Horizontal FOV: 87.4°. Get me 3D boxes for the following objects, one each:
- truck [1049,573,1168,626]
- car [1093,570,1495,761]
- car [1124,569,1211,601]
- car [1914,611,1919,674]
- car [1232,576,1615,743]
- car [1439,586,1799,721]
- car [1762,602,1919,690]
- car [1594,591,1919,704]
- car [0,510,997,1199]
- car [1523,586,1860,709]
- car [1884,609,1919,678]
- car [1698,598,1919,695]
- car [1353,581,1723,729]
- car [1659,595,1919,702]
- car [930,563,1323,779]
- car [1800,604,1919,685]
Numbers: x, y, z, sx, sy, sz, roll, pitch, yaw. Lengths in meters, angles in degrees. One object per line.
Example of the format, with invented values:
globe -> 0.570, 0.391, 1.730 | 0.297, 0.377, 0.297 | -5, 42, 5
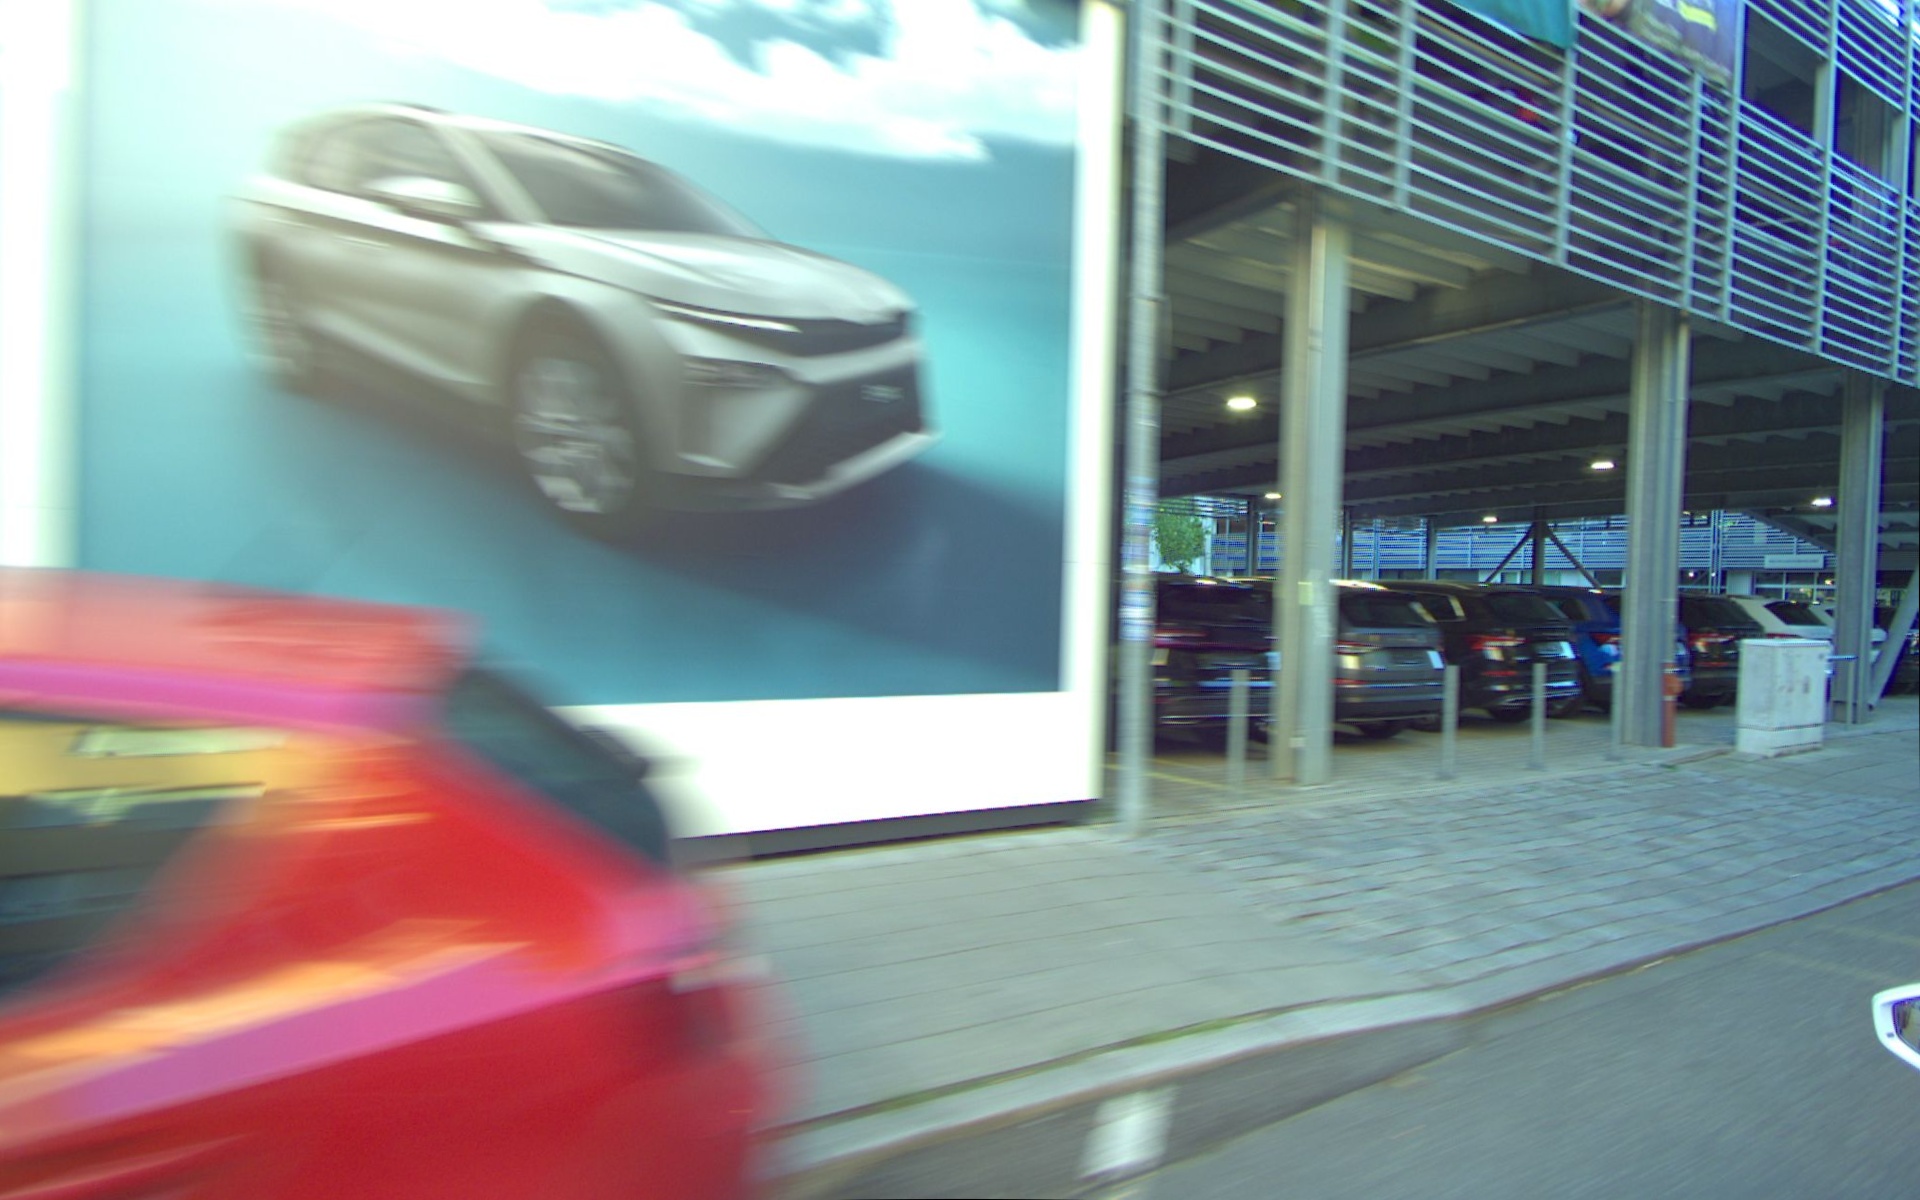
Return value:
truck -> 7.853, -0.083, 54.007 | 2.418, 2.602, 6.878 | 2, 1, -32
car -> 3.470, 0.562, 11.273 | 1.837, 1.706, 4.148 | 1, 1, -28
car -> 11.460, -0.819, 55.355 | 4.342, 1.595, 2.282 | 2, 1, -34
car -> 27.603, 1.192, 25.856 | 1.837, 1.706, 4.062 | 1, 1, -28
car -> 5.484, 0.584, 12.441 | 1.837, 1.706, 4.018 | 1, 1, -28
car -> 9.611, 0.659, 15.035 | 1.837, 1.706, 4.132 | 1, 1, -28
car -> 19.742, 0.946, 21.125 | 1.837, 1.706, 4.085 | 1, 1, -28
car -> 13.700, 0.717, 17.548 | 1.837, 1.706, 4.066 | 1, 1, -28
car -> -1.989, 0.650, 1.399 | 3.744, 1.526, 1.690 | 1, 0, -29
car -> 11.641, 0.650, 16.287 | 1.837, 1.706, 4.008 | 1, 1, -28
car -> 25.595, 1.129, 24.528 | 1.837, 1.706, 4.070 | 1, 1, -28
car -> 17.520, 0.859, 20.054 | 1.837, 1.706, 4.085 | 1, 1, -28
car -> 7.665, 0.608, 13.744 | 1.837, 1.706, 4.018 | 1, 1, -28
car -> 15.649, 0.789, 18.577 | 1.837, 1.706, 4.085 | 1, 1, -28
car -> 1.419, 0.539, 10.142 | 1.837, 1.706, 4.026 | 1, 1, -28
car -> 21.521, 0.998, 22.286 | 1.837, 1.706, 4.047 | 1, 1, -28
